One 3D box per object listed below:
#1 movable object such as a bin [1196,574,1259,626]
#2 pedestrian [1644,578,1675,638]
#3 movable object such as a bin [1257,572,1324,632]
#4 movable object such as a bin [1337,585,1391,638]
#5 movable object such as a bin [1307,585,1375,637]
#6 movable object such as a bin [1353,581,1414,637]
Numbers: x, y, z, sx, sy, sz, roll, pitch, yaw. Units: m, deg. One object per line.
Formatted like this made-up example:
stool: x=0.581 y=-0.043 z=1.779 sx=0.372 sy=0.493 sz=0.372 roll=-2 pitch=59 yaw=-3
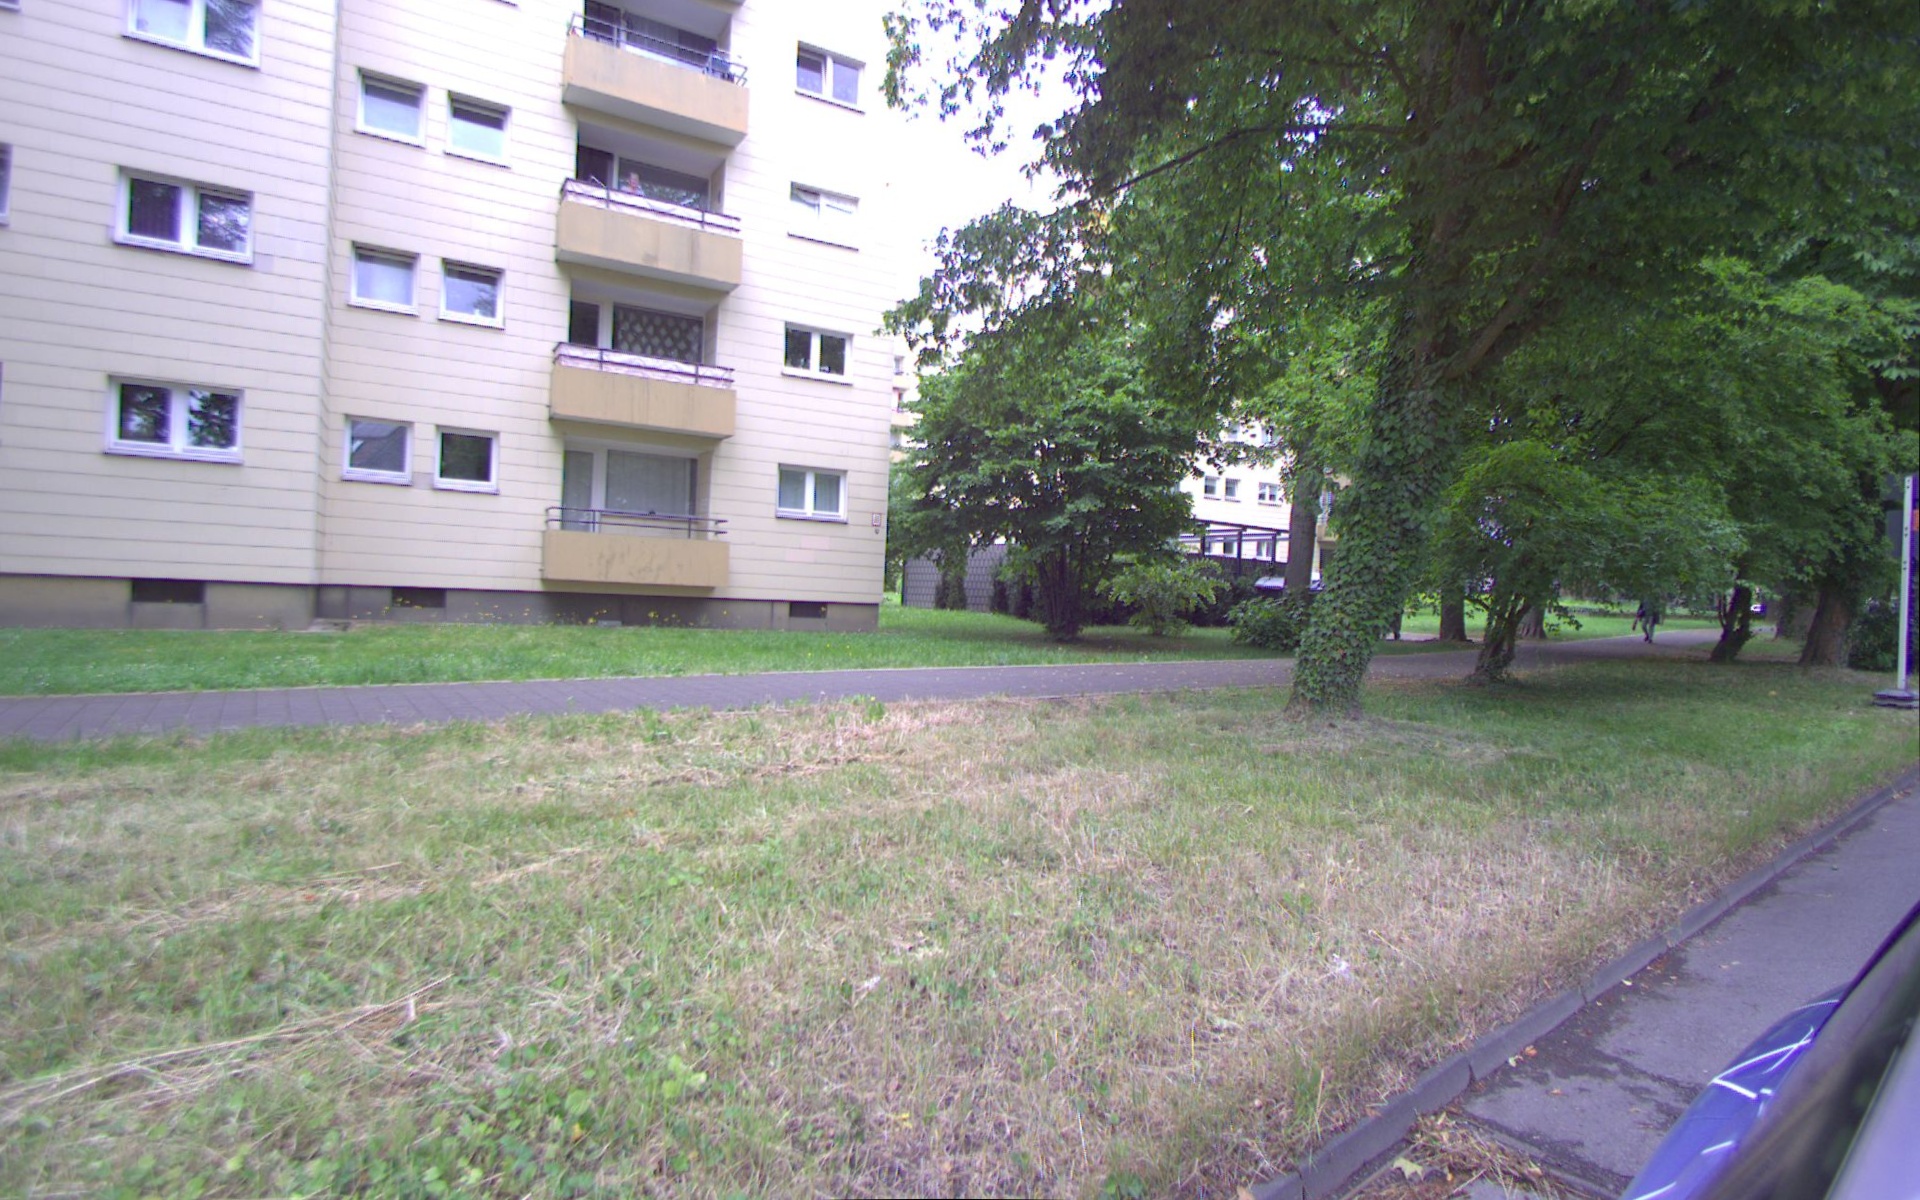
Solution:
movable object such as a bin: x=7.369 y=-0.016 z=27.885 sx=1.190 sy=1.358 sz=1.328 roll=3 pitch=2 yaw=41
pedestrian: x=21.333 y=0.241 z=30.861 sx=0.560 sy=1.761 sz=0.565 roll=1 pitch=2 yaw=-41
movable object such as a bin: x=8.631 y=0.043 z=26.414 sx=1.190 sy=1.475 sz=1.328 roll=3 pitch=2 yaw=41
movable object such as a bin: x=10.508 y=0.281 z=26.316 sx=1.022 sy=1.320 sz=0.946 roll=3 pitch=2 yaw=41
movable object such as a bin: x=9.621 y=0.259 z=25.542 sx=1.190 sy=1.236 sz=1.328 roll=3 pitch=2 yaw=41
movable object such as a bin: x=11.309 y=0.221 z=27.035 sx=1.190 sy=1.431 sz=1.094 roll=3 pitch=2 yaw=41
